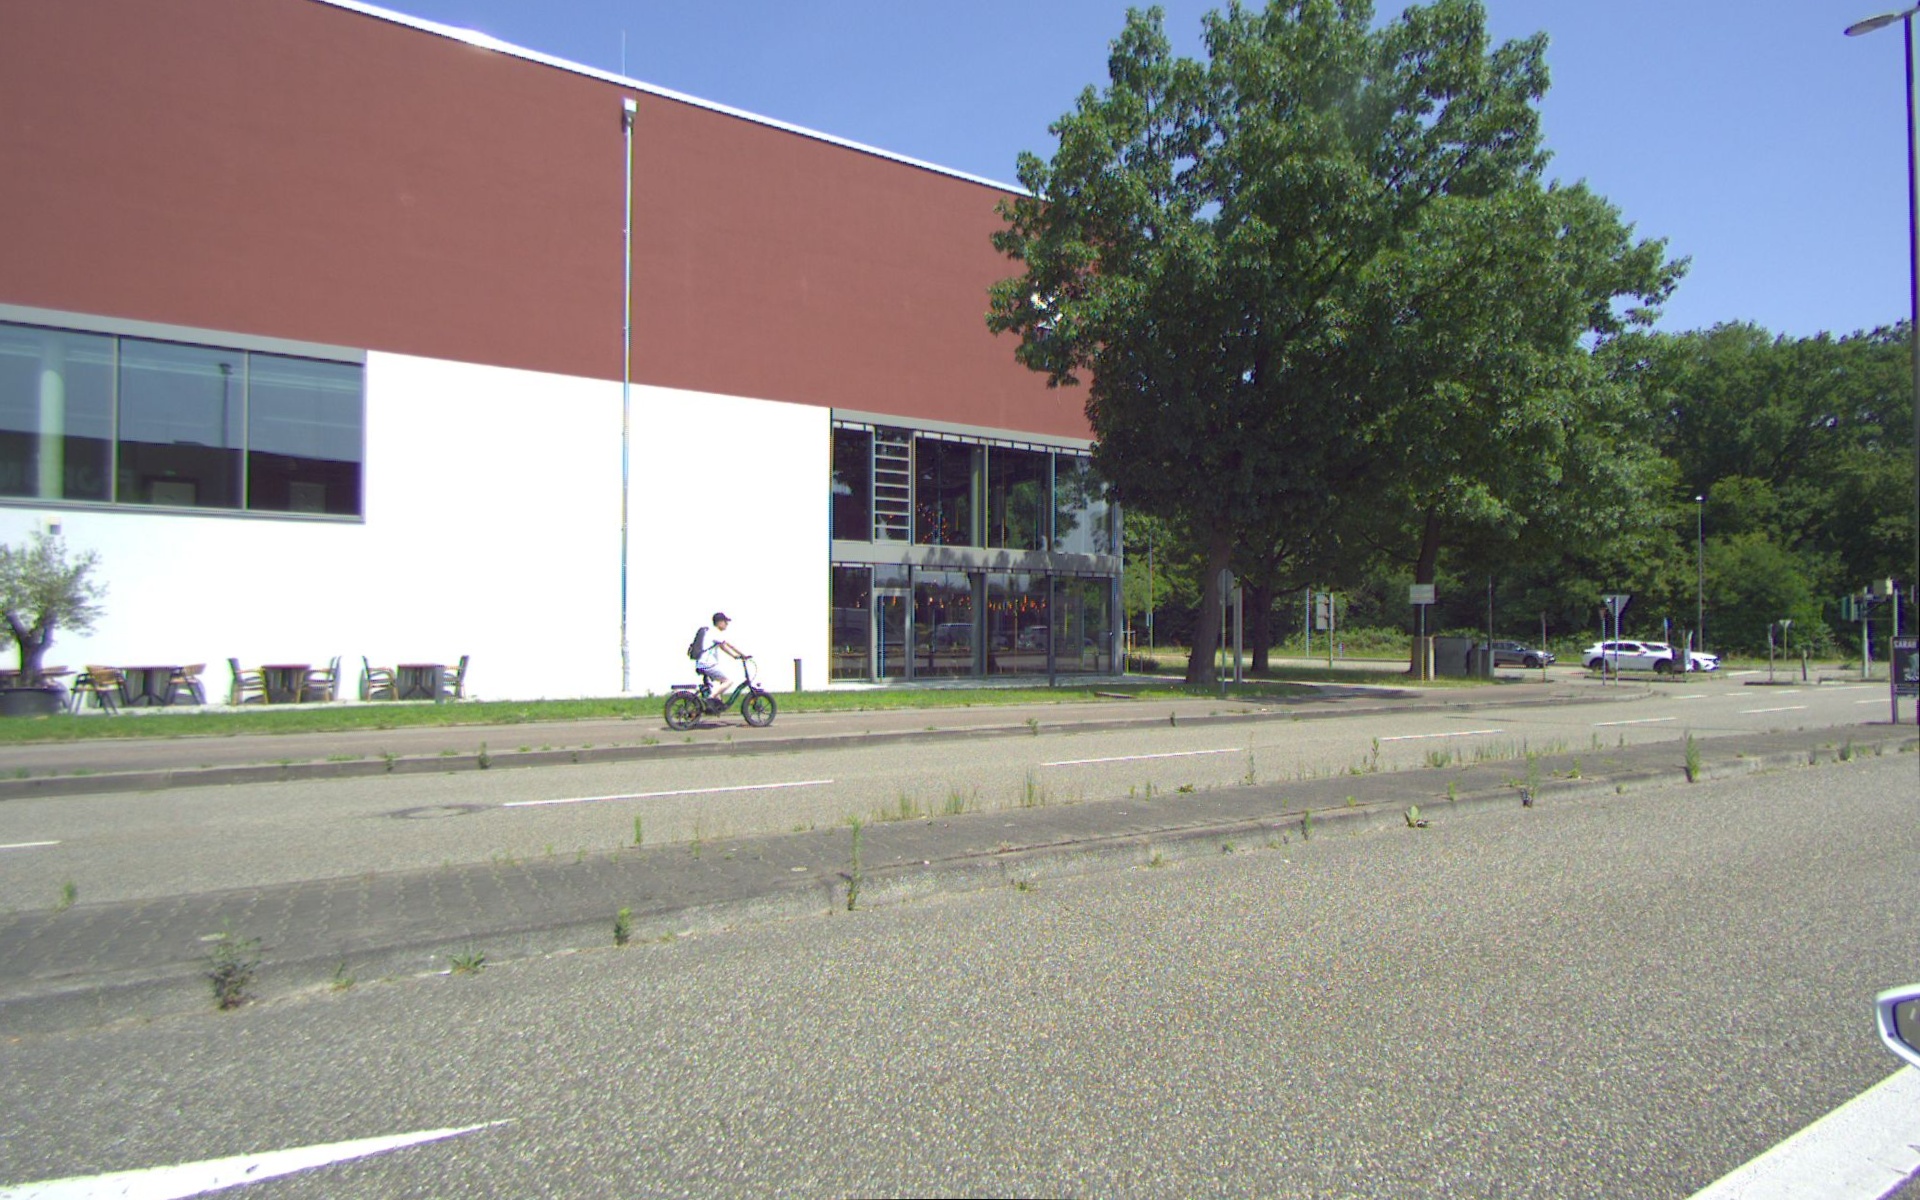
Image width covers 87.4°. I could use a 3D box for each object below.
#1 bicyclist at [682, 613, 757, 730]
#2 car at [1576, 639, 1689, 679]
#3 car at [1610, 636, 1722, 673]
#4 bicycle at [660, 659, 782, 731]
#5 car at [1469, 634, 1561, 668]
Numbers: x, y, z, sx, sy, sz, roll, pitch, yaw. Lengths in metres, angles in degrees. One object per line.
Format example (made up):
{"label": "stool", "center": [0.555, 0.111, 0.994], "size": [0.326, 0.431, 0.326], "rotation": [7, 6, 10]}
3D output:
{"label": "bicyclist", "center": [-3.520, 1.029, 14.706], "size": [0.913, 1.652, 0.605], "rotation": [1, -2, -30]}
{"label": "car", "center": [33.398, 2.874, 49.991], "size": [1.794, 1.704, 4.338], "rotation": [2, 0, -37]}
{"label": "car", "center": [36.547, 2.854, 52.096], "size": [1.794, 1.703, 4.340], "rotation": [2, -6, -37]}
{"label": "bicycle", "center": [-3.498, 1.368, 14.731], "size": [1.640, 0.982, 0.614], "rotation": [1, -2, -30]}
{"label": "car", "center": [32.181, 2.947, 58.338], "size": [1.796, 1.704, 4.332], "rotation": [2, 0, -41]}
